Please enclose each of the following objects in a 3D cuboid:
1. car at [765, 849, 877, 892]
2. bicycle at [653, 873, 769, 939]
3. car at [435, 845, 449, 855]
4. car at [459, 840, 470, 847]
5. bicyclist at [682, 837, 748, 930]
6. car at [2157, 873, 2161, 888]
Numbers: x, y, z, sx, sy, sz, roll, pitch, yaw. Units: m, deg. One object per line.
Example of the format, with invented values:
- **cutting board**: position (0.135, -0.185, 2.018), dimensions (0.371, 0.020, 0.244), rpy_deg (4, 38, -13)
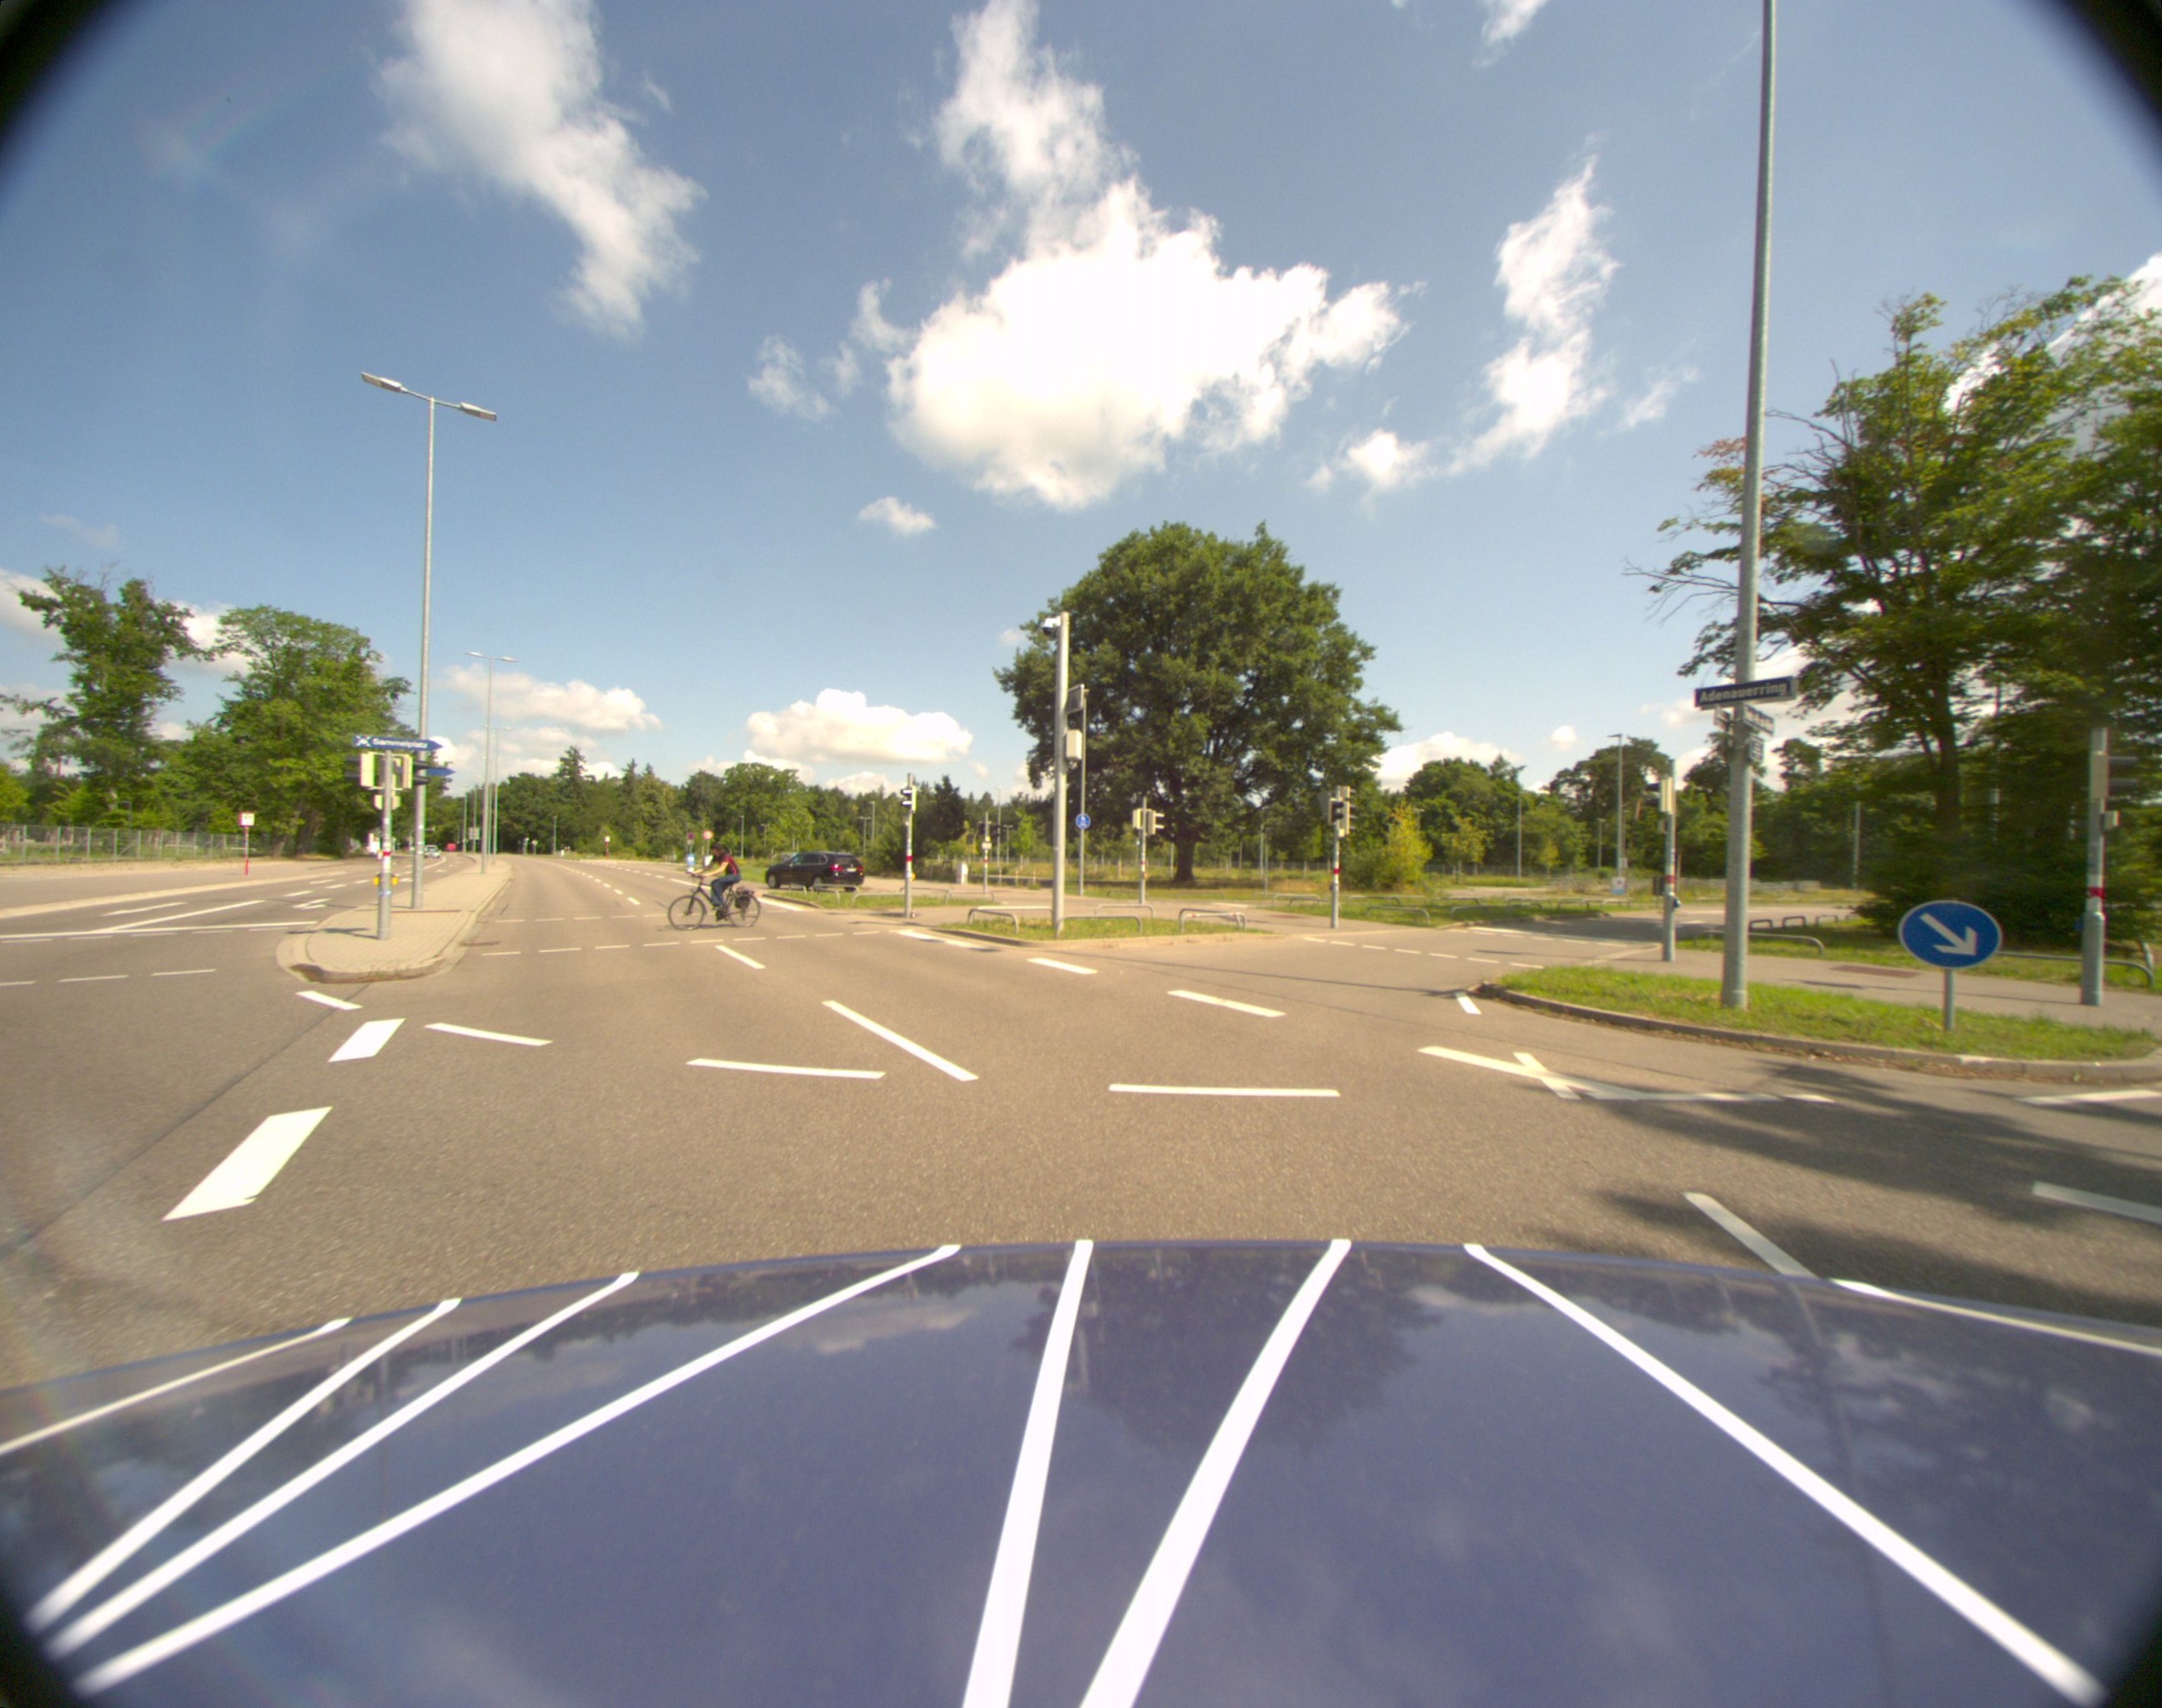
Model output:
- **car**: position (-11.325, 0.670, 33.047), dimensions (4.694, 1.754, 1.985), rpy_deg (0, 0, 29)
- **bicycle**: position (-7.383, 0.992, 15.195), dimensions (1.901, 1.199, 0.881), rpy_deg (0, 0, -42)
- **car**: position (-98.488, -0.588, 117.115), dimensions (1.584, 1.471, 3.560), rpy_deg (0, 1, -40)
- **car**: position (-126.911, -2.179, 156.391), dimensions (1.584, 1.471, 3.560), rpy_deg (0, 1, -37)
- **bicyclist**: position (-7.334, 0.557, 15.222), dimensions (0.981, 1.787, 0.885), rpy_deg (-1, 2, -42)
- **car**: position (180.348, 4.331, 126.059), dimensions (5.373, 2.416, 1.976), rpy_deg (0, 0, -37)
